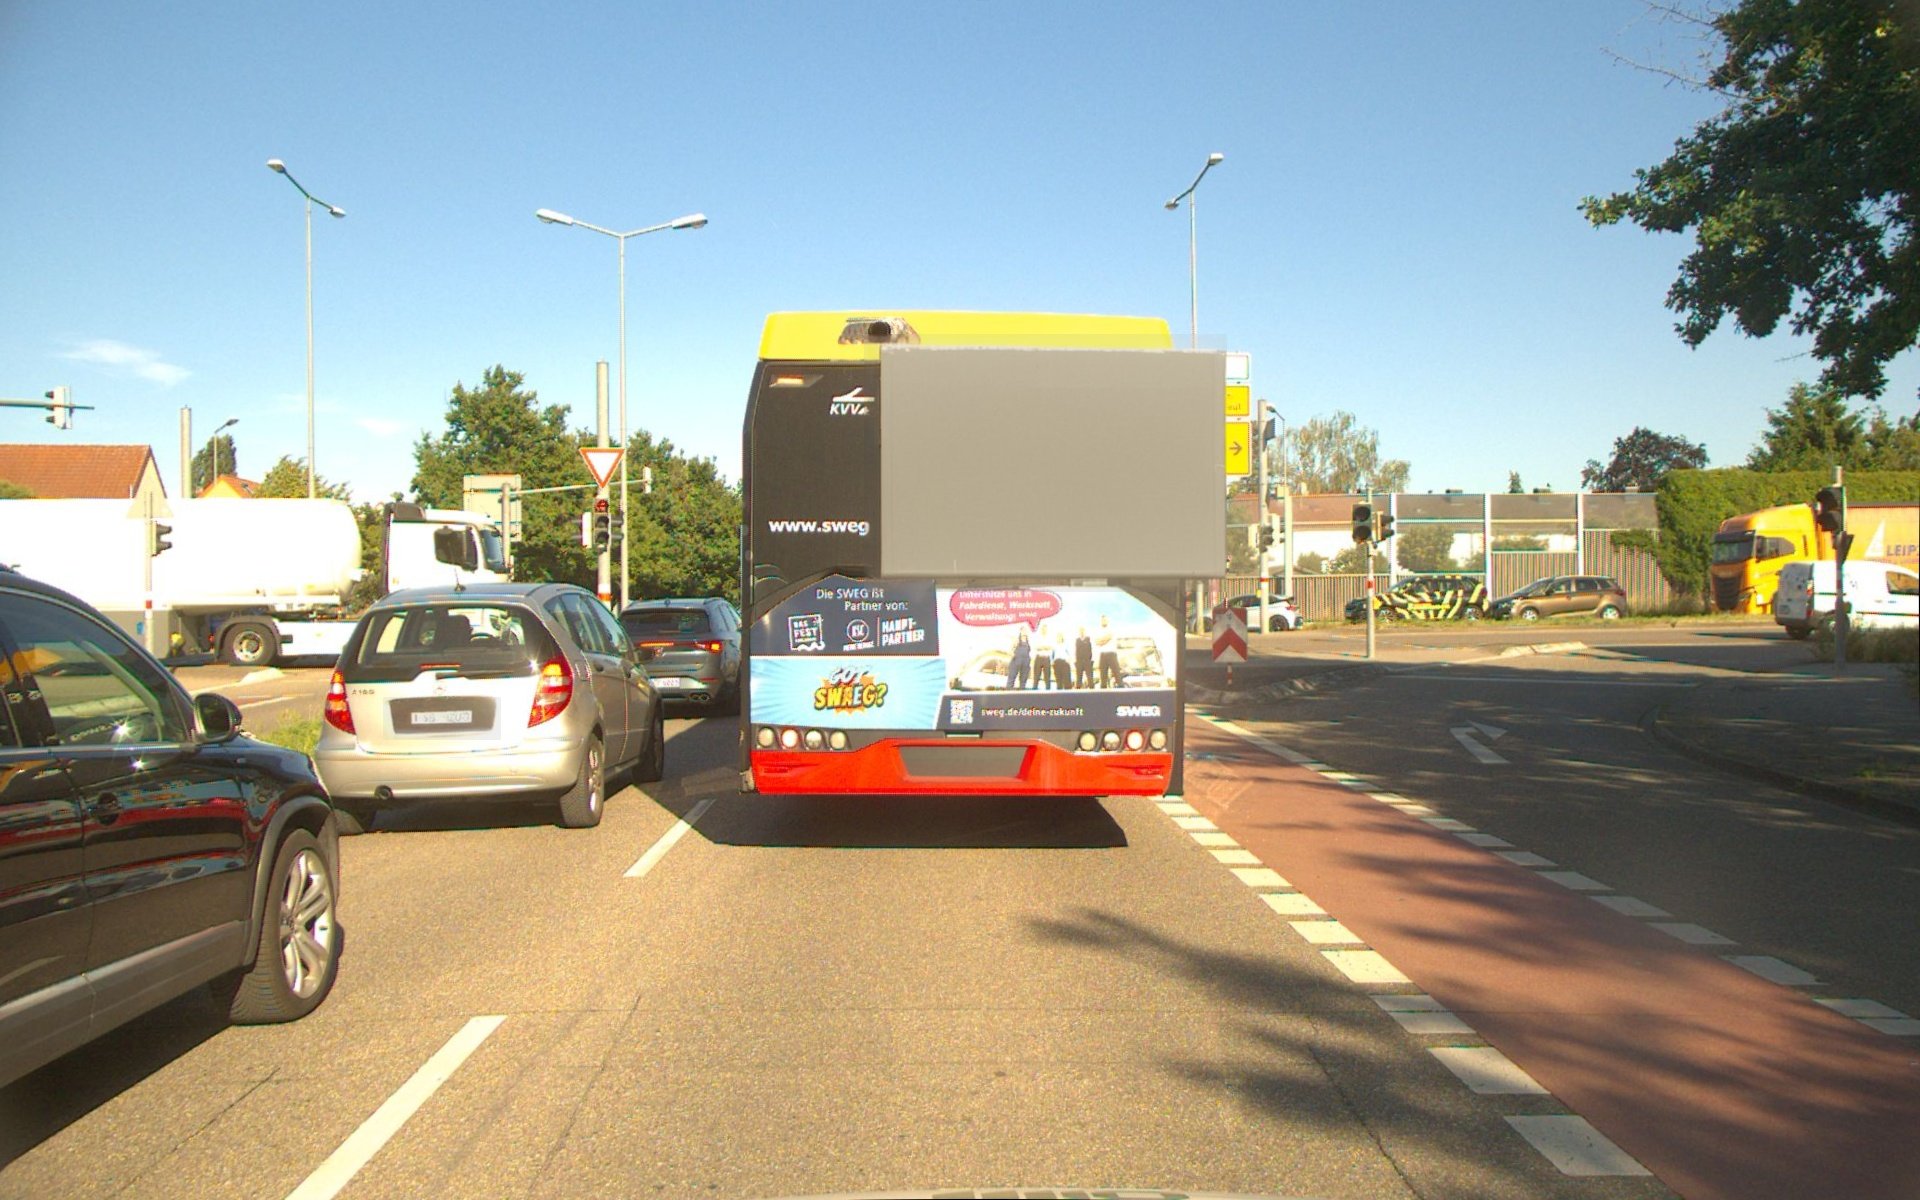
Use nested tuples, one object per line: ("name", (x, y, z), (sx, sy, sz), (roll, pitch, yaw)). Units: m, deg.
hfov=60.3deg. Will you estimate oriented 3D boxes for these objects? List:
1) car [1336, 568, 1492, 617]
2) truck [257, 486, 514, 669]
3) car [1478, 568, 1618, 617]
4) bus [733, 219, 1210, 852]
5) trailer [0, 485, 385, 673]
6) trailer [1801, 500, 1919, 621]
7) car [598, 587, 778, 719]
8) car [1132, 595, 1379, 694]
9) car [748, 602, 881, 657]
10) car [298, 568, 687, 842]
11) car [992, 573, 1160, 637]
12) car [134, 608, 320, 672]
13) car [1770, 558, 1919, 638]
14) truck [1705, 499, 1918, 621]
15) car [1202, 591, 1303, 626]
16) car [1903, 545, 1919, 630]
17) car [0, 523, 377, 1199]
("car", (13.139, -0.206, 47.974), (4.078, 1.325, 1.573), (1, -1, -4))
("truck", (-12.201, -0.488, 35.423), (4.707, 3.760, 2.408), (0, 0, -6))
("car", (18.546, -0.233, 52.229), (3.911, 1.467, 1.563), (1, -1, -7))
("bus", (-0.024, -0.363, 14.920), (2.543, 3.393, 11.981), (1, 0, -1))
("trailer", (-18.119, -0.434, 34.515), (11.268, 3.761, 2.389), (0, 0, -11))
("trailer", (36.010, -1.393, 57.906), (12.492, 4.100, 2.466), (0, 0, -8))
("car", (-3.346, 0.628, 20.946), (1.555, 1.512, 3.683), (-1, -1, 2))
("car", (4.295, 0.618, 24.292), (3.447, 1.325, 1.576), (1, 1, 8))
("car", (-4.375, 0.888, 49.524), (3.911, 1.580, 1.693), (1, -1, -8))
("car", (-3.202, 0.606, 12.176), (1.718, 1.648, 4.033), (0, 1, 0))
("car", (3.006, 0.151, 43.317), (4.139, 1.590, 1.761), (1, -1, -6))
("car", (-20.856, 1.139, 47.217), (4.443, 1.745, 1.996), (1, -1, -9))
("car", (21.437, -0.048, 38.921), (4.026, 1.832, 1.458), (-1, -1, 1))
("truck", (29.301, -1.359, 57.014), (6.277, 4.068, 2.469), (0, 0, -8))
("car", (10.811, 0.315, 61.143), (3.508, 1.287, 1.354), (0, 0, 20))
("car", (16.594, -0.179, 26.032), (3.355, 1.318, 1.448), (1, -1, -26))
("car", (-3.154, 0.704, 4.443), (1.784, 1.703, 4.001), (-2, -1, -1))
